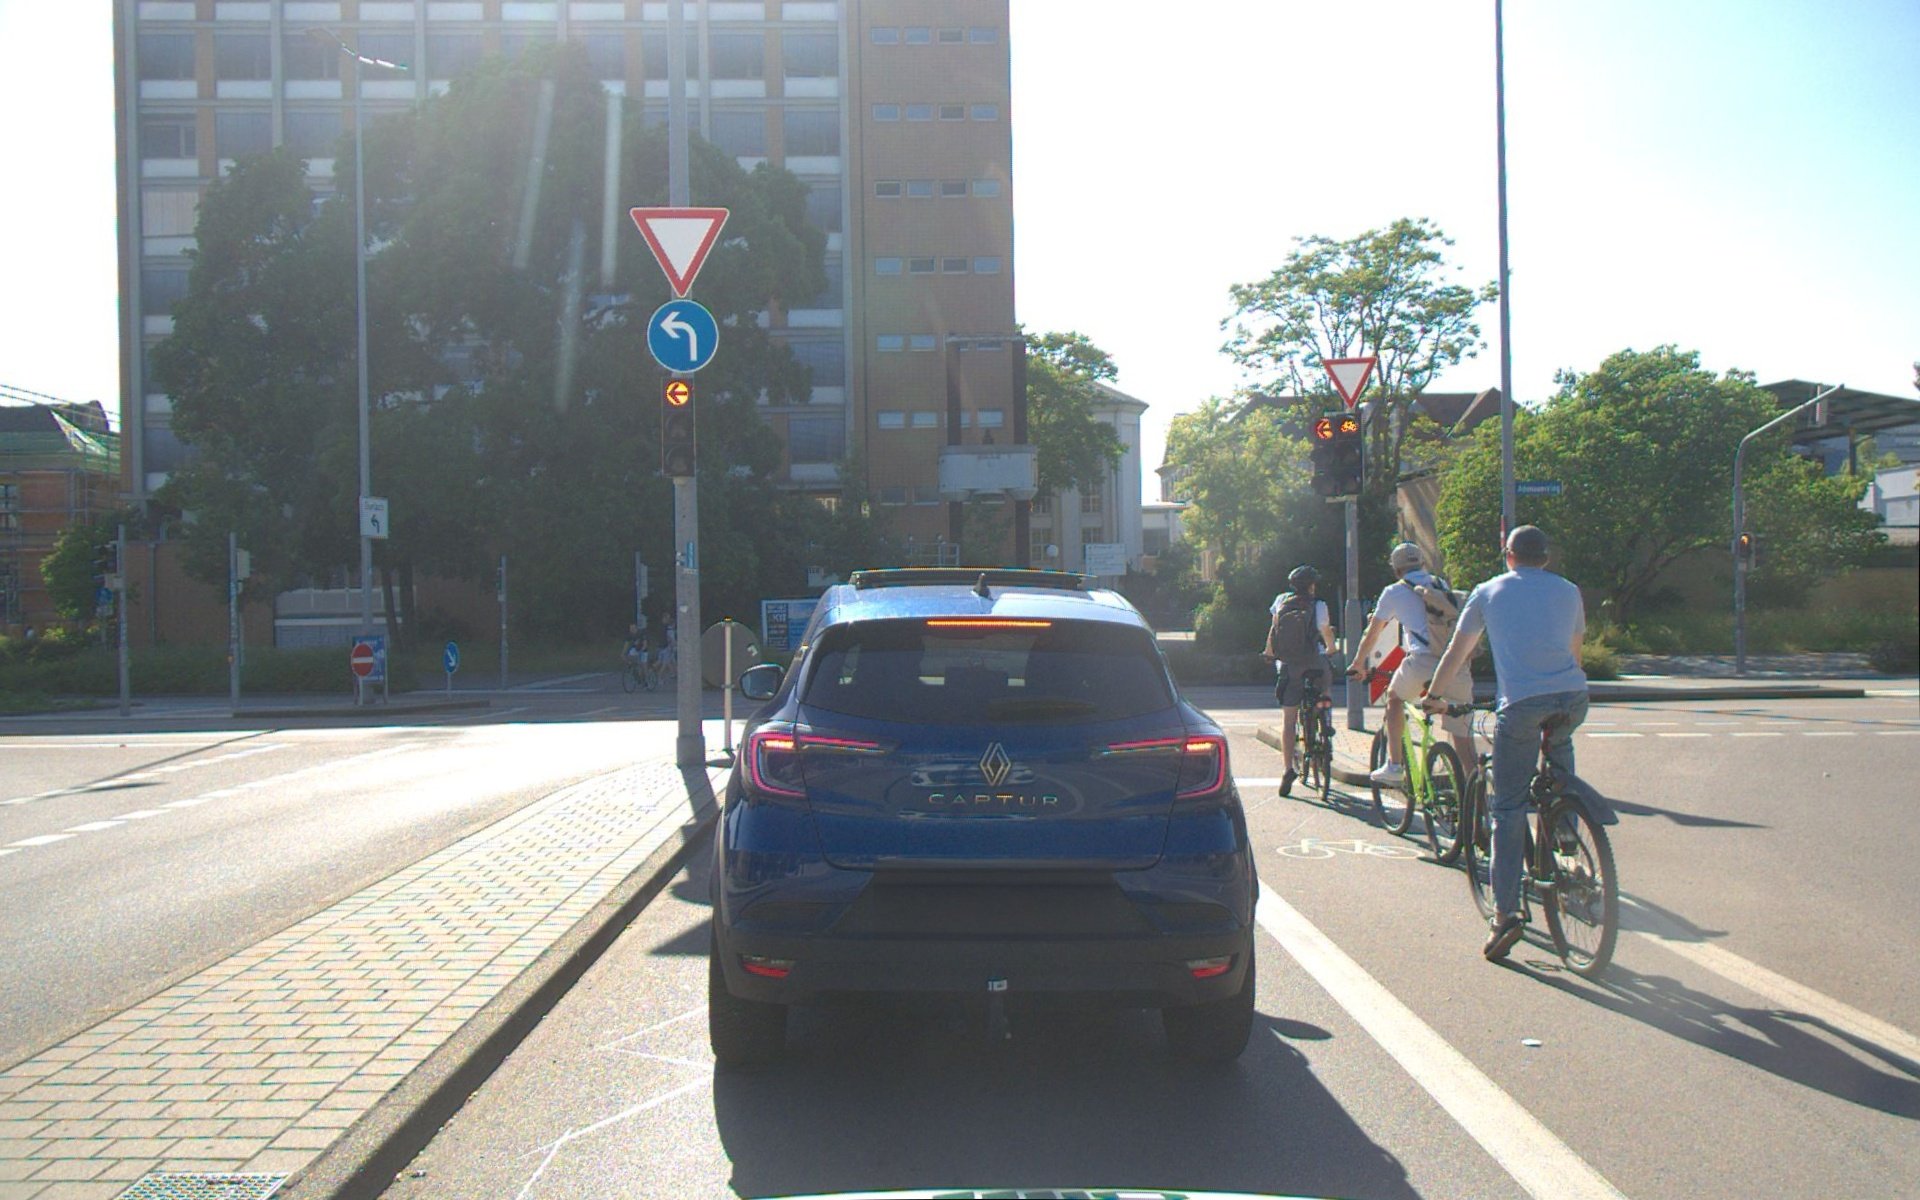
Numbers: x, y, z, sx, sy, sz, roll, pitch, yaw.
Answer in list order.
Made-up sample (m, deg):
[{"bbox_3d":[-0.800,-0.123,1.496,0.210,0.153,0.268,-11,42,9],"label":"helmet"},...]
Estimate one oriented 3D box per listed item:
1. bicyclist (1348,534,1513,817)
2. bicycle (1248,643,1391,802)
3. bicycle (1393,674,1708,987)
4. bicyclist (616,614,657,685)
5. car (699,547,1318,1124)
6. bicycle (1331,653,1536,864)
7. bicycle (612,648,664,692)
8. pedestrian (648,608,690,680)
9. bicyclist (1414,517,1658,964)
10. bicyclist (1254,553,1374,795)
[{"bbox_3d":[2.843,0.435,10.086,0.664,1.622,1.142,0,0,-1],"label":"bicyclist"},{"bbox_3d":[2.778,0.911,12.958,0.675,1.108,1.922,0,0,-1],"label":"bicycle"},{"bbox_3d":[2.506,0.920,7.270,0.675,1.108,1.922,0,0,-1],"label":"bicycle"},{"bbox_3d":[-8.141,1.225,41.650,0.739,1.746,0.999,-1,0,5],"label":"bicyclist"},{"bbox_3d":[0.057,0.663,6.629,1.753,1.613,3.912,0,0,-3],"label":"car"},{"bbox_3d":[2.838,0.910,10.119,0.675,1.108,1.922,0,0,-1],"label":"bicycle"},{"bbox_3d":[-8.125,1.760,41.796,0.739,1.002,2.095,-1,0,5],"label":"bicycle"},{"bbox_3d":[-7.892,1.187,44.903,0.796,1.895,0.910,-1,0,13],"label":"pedestrian"},{"bbox_3d":[2.509,0.573,7.322,0.669,1.822,1.142,0,0,-1],"label":"bicyclist"},{"bbox_3d":[2.774,0.560,13.053,0.685,1.822,1.142,0,0,-1],"label":"bicyclist"}]
